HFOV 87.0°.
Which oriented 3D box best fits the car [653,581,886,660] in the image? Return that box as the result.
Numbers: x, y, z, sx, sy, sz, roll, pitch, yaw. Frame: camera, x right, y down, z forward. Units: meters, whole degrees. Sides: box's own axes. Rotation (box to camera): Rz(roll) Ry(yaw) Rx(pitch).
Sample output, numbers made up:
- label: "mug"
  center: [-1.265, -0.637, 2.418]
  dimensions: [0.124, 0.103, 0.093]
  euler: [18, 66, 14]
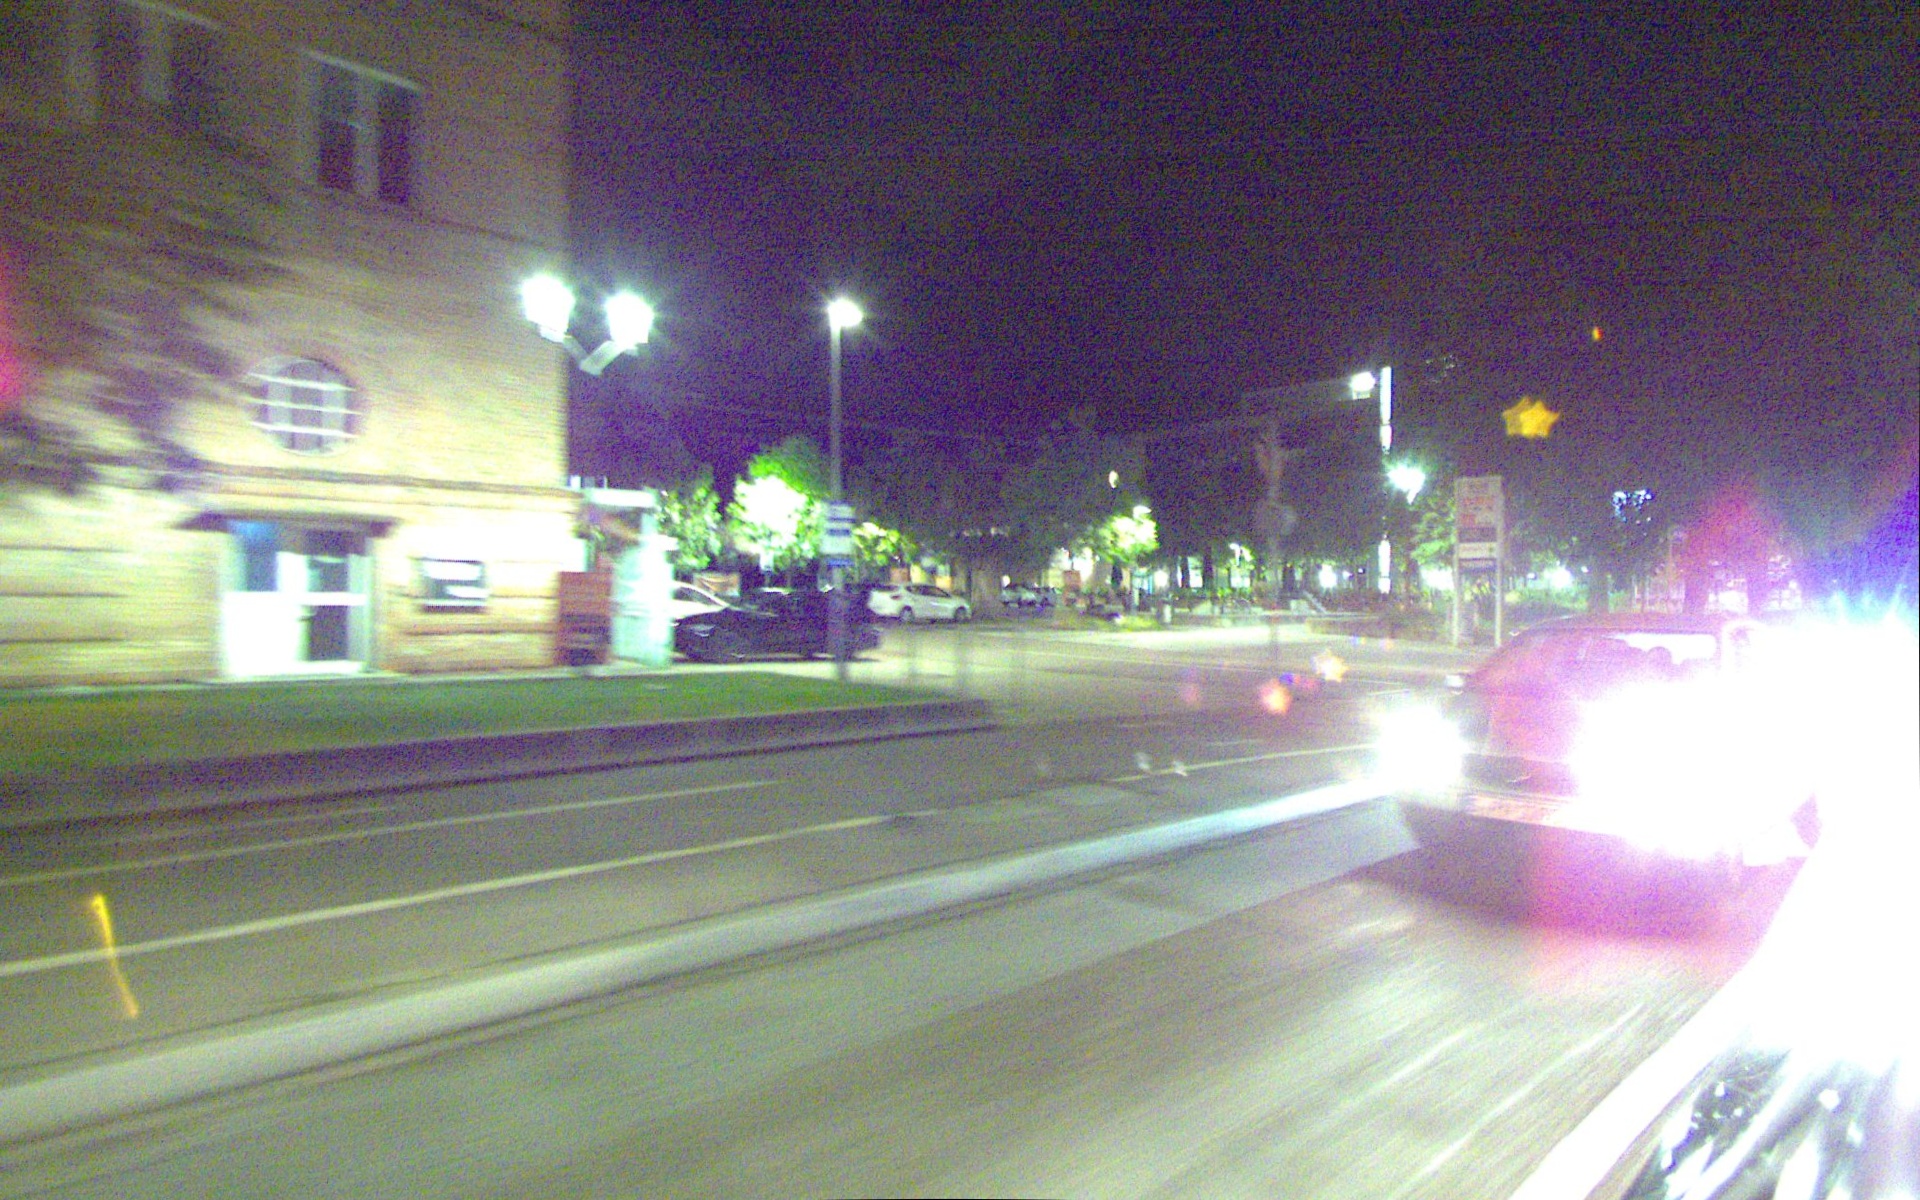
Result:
- label: "car"
  center: [-3.766, 0.400, 20.429]
  dimensions: [4.399, 1.413, 1.517]
  euler: [1, 1, -38]

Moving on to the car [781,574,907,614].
- label: "car"
  center: [-4.601, -0.245, 40.634]
  dimensions: [4.808, 1.531, 1.892]
  euler: [0, 1, -42]

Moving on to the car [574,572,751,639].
- label: "car"
  center: [-7.484, 0.108, 25.644]
  dimensions: [3.929, 1.552, 1.786]
  euler: [0, 1, -40]

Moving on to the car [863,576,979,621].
- label: "car"
  center: [-1.387, -0.082, 37.035]
  dimensions: [4.026, 1.552, 1.772]
  euler: [0, 1, -40]

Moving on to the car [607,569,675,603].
- label: "car"
  center: [-17.302, -0.770, 54.733]
  dimensions: [2.042, 1.787, 4.549]
  euler: [0, 1, -38]

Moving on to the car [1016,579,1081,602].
- label: "car"
  center: [6.045, -0.644, 68.871]
  dimensions: [4.226, 1.527, 1.997]
  euler: [0, 1, -41]

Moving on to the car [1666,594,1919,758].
- label: "car"
  center: [9.869, 0.708, 11.539]
  dimensions: [4.645, 1.513, 1.808]
  euler: [0, -1, -40]

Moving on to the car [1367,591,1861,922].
- label: "car"
  center: [4.397, 0.727, 6.560]
  dimensions: [3.930, 1.514, 1.640]
  euler: [0, -1, -41]

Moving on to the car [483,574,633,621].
- label: "car"
  center: [-13.187, -0.095, 33.313]
  dimensions: [4.167, 1.446, 1.997]
  euler: [0, 1, -41]
